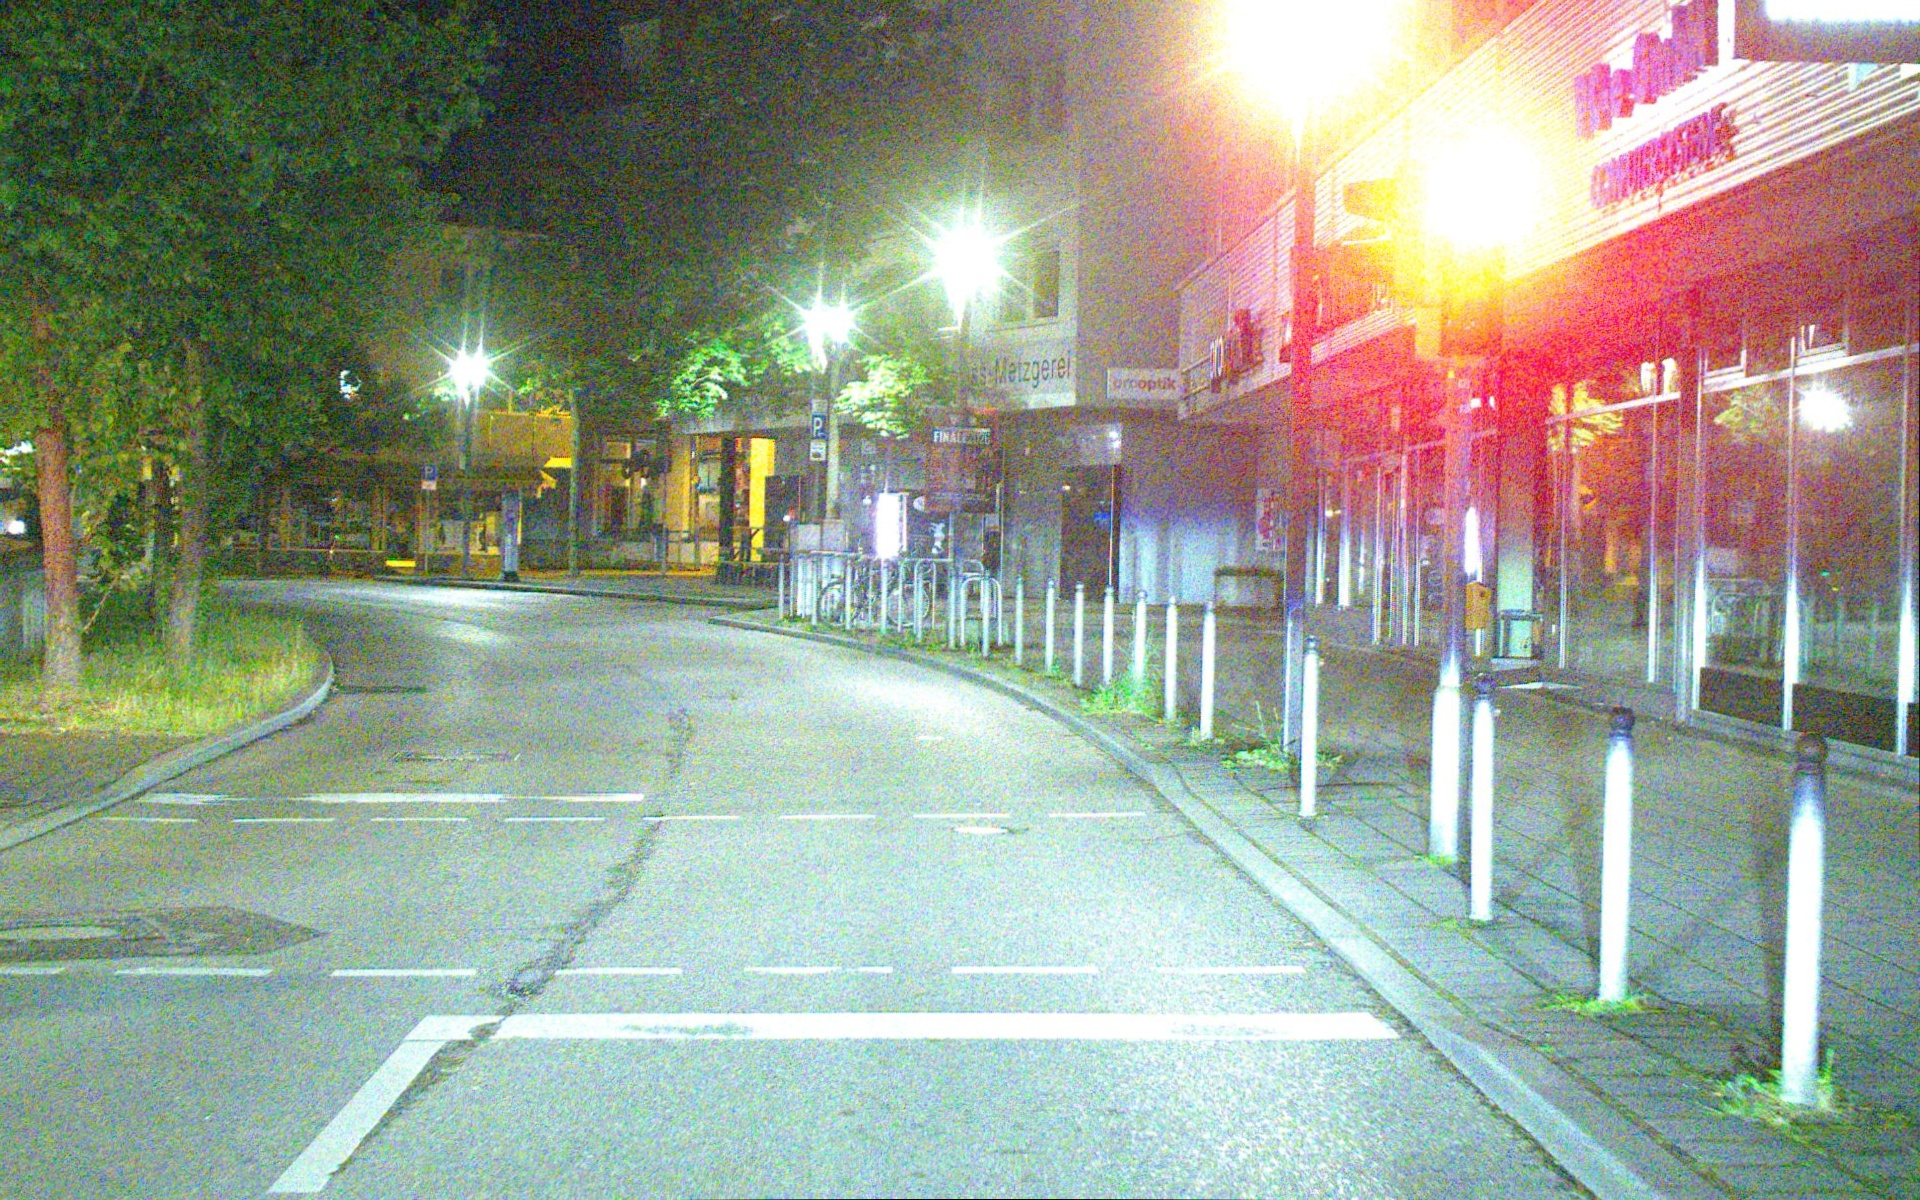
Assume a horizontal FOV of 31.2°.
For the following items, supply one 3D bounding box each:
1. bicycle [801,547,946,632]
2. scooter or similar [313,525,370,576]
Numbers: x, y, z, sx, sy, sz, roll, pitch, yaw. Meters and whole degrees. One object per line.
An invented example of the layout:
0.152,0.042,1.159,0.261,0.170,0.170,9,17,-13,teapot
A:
-1.120,-0.134,44.719,1.749,1.059,0.656,1,2,-25,bicycle
-15.701,-1.257,87.220,1.246,1.223,0.598,2,2,-28,scooter or similar
